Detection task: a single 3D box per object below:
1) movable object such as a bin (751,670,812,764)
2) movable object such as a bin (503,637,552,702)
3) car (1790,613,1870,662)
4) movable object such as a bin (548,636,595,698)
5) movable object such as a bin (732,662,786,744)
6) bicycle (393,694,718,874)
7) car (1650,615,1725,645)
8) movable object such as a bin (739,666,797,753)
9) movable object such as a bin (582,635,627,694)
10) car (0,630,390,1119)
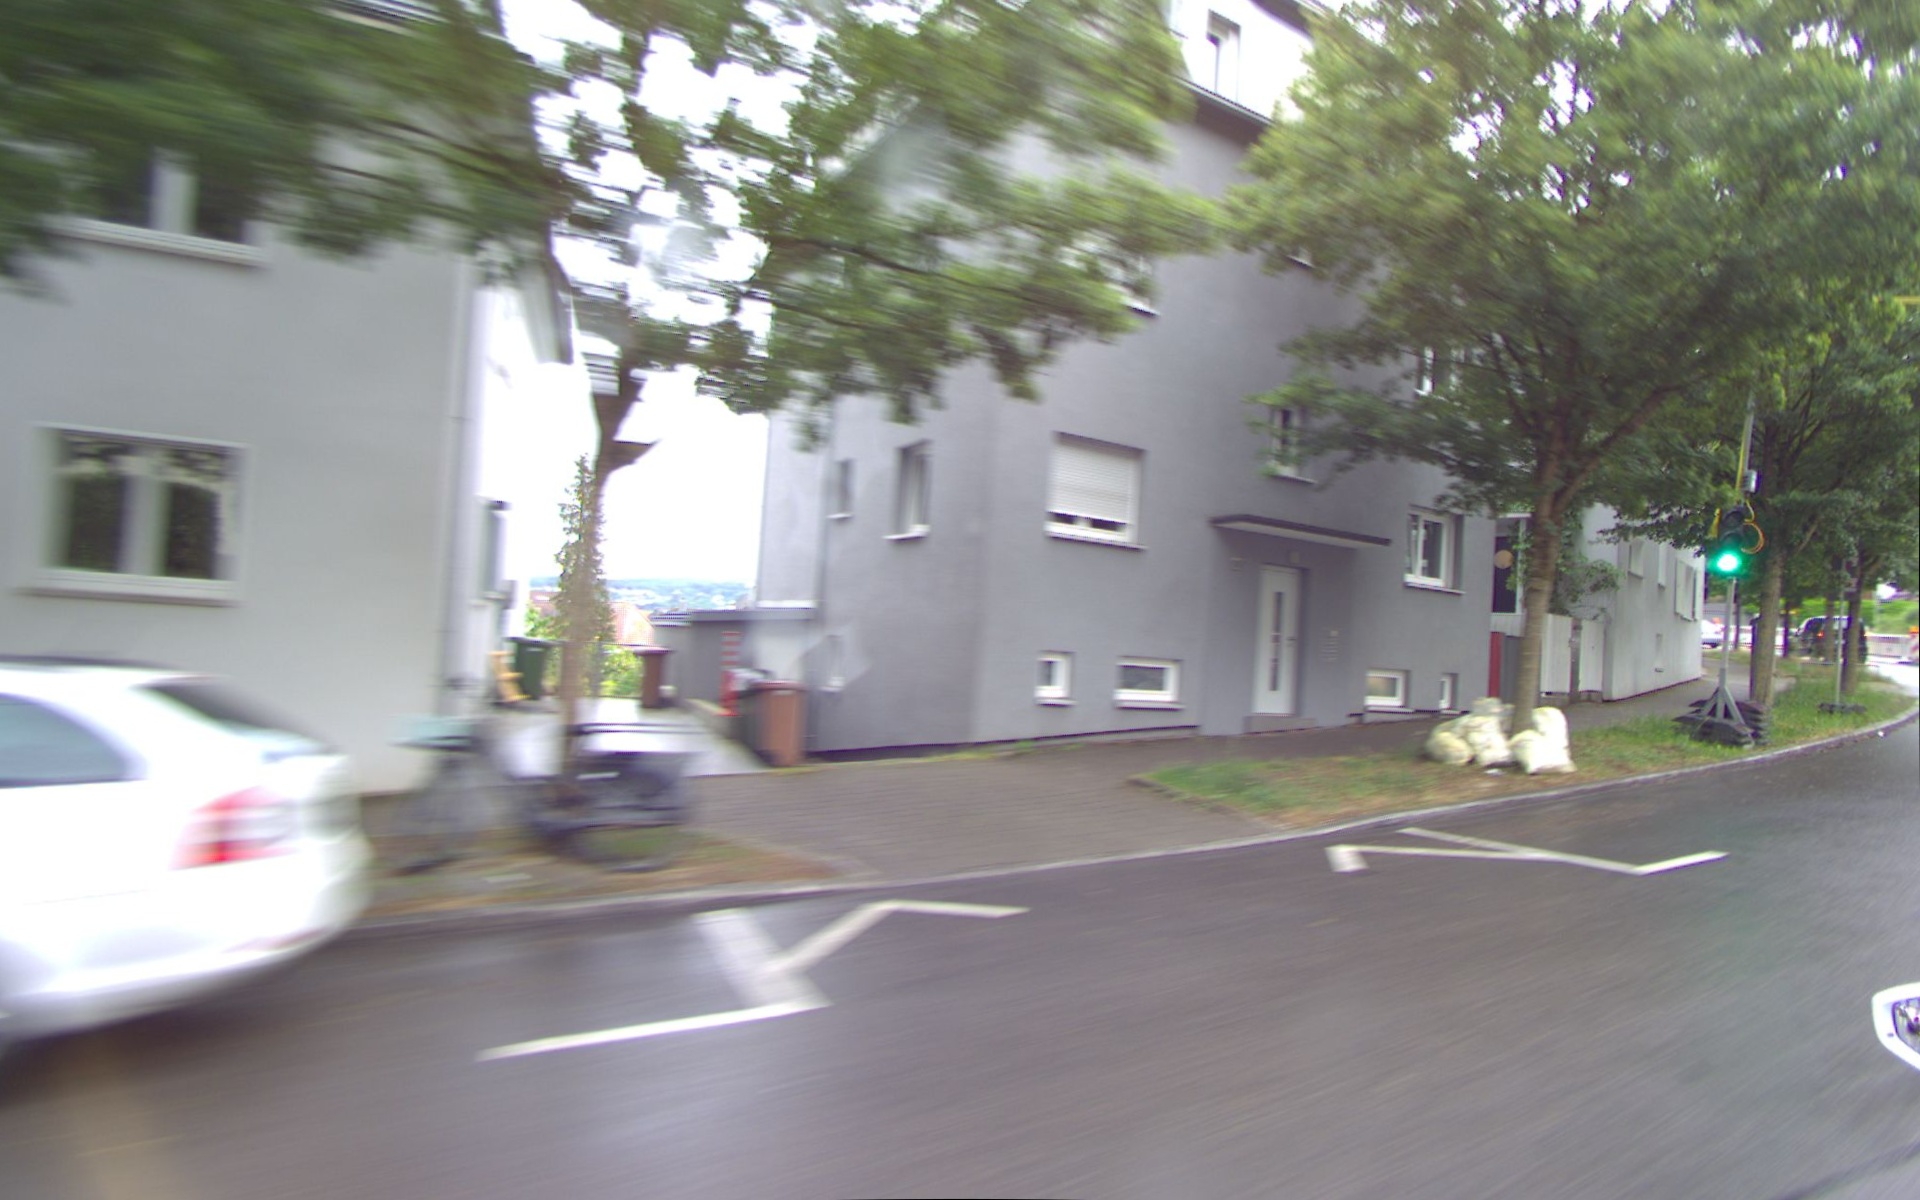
[{"bbox_3d":[-1.959,1.265,11.021,0.632,0.963,0.656,0,-1,-12],"label":"movable object such as a bin"},{"bbox_3d":[-6.669,1.052,15.479,0.649,0.963,0.640,1,-2,-26],"label":"movable object such as a bin"},{"bbox_3d":[34.144,1.517,39.513,1.968,1.817,3.987,-2,-3,36],"label":"car"},{"bbox_3d":[-6.246,1.061,16.146,0.649,0.963,0.678,1,-2,-26],"label":"movable object such as a bin"},{"bbox_3d":[-2.483,1.257,12.433,0.632,0.963,0.656,0,-1,-12],"label":"movable object such as a bin"},{"bbox_3d":[-2.539,1.147,6.461,1.871,1.043,0.436,1,-1,-10],"label":"bicycle"},{"bbox_3d":[38.502,1.616,53.258,1.691,1.505,4.080,-1,-3,12],"label":"car"},{"bbox_3d":[-2.242,1.263,11.733,0.632,0.963,0.656,0,-1,-12],"label":"movable object such as a bin"},{"bbox_3d":[-6.037,1.086,17.038,0.649,0.963,0.710,1,-2,-26],"label":"movable object such as a bin"},{"bbox_3d":[-4.550,0.890,3.462,4.252,1.528,1.679,1,-3,-22],"label":"car"}]
